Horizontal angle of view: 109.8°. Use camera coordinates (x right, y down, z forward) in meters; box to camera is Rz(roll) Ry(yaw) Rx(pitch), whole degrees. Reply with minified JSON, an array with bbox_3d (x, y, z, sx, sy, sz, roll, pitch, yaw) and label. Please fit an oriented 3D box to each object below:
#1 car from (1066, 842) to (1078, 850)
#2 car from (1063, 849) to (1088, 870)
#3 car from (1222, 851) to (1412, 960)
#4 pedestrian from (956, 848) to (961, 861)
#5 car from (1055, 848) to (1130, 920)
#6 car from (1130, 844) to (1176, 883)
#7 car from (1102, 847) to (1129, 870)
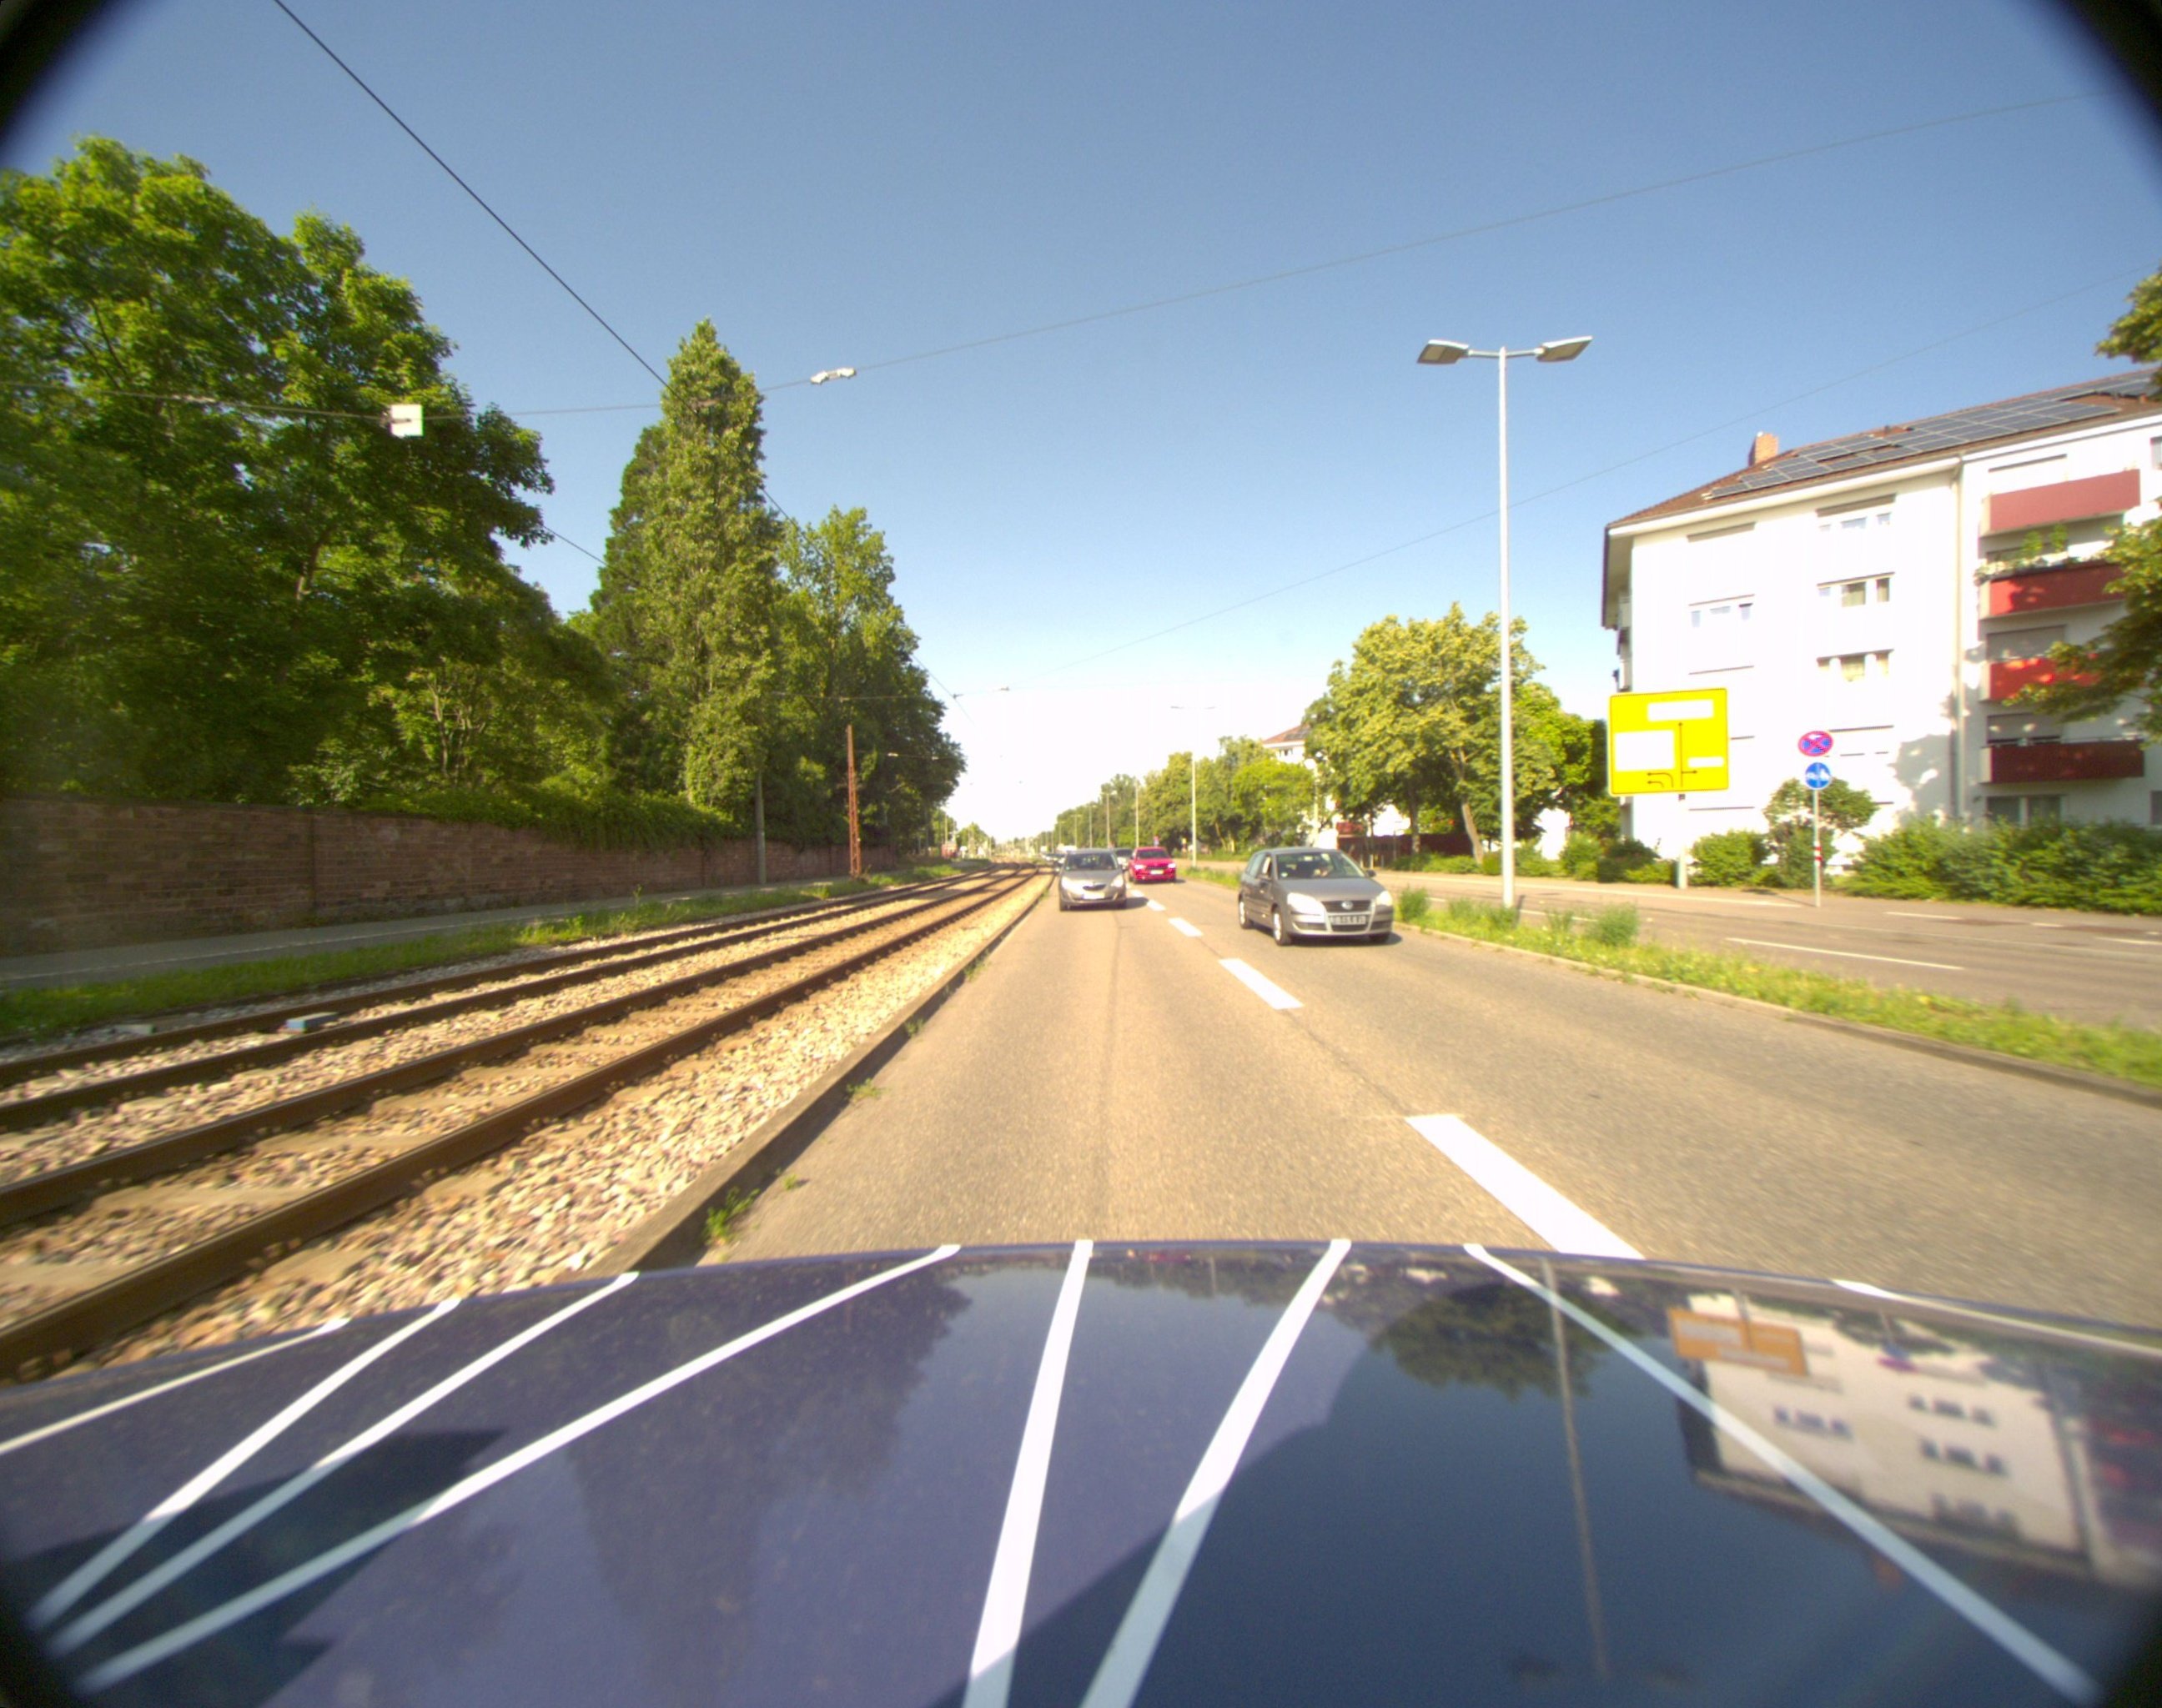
[{"bbox_3d":[-1.646,-1.428,136.113,1.711,1.513,3.831,-2,1,-5],"label":"car"},{"bbox_3d":[-0.465,0.431,59.026,1.710,1.513,3.831,-2,1,-3],"label":"car"},{"bbox_3d":[3.607,0.698,12.356,1.693,1.420,3.831,-2,1,-3],"label":"car"},{"bbox_3d":[-16.229,0.082,100.516,0.501,1.706,0.885,0,1,2],"label":"pedestrian"},{"bbox_3d":[0.270,0.669,19.214,1.650,1.581,3.832,-2,1,0],"label":"car"},{"bbox_3d":[3.165,0.387,34.056,1.692,1.573,3.832,-2,1,0],"label":"car"},{"bbox_3d":[2.470,0.294,55.412,1.710,1.513,3.832,-2,1,-1],"label":"car"}]
